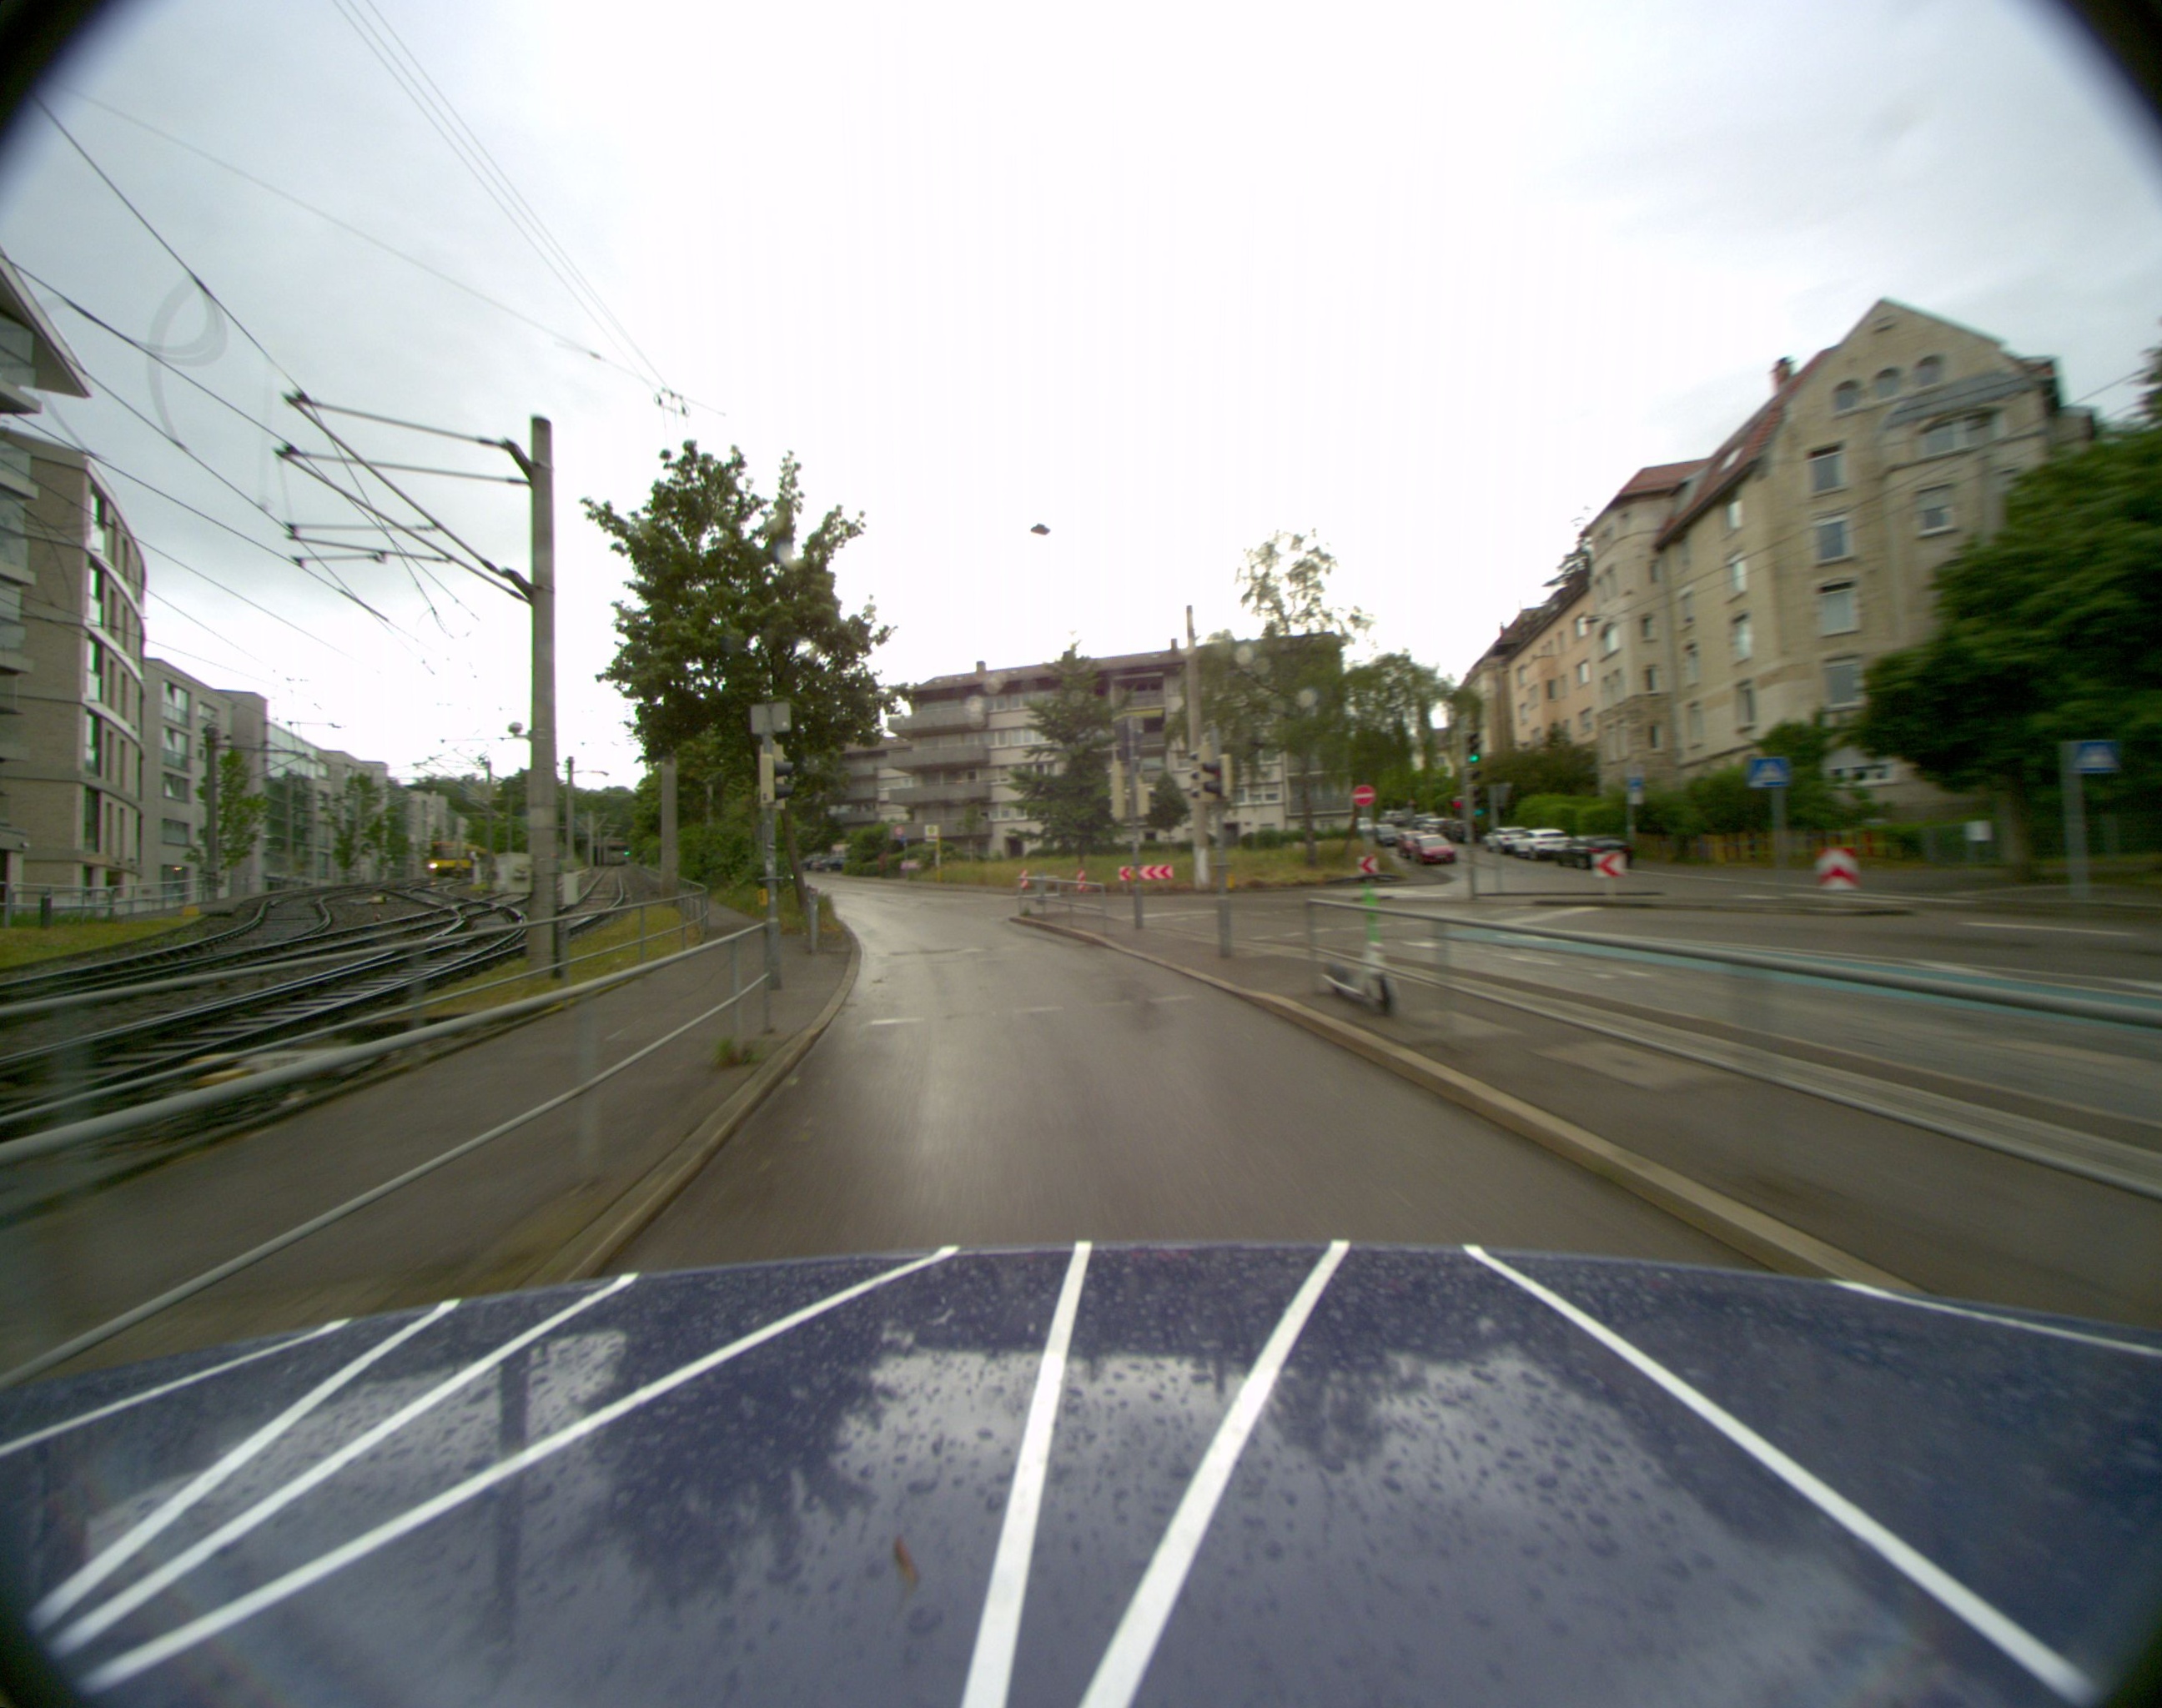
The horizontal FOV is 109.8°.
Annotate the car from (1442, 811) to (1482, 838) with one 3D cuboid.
[{"bbox_3d":[28.143,-2.136,56.277,1.678,1.824,3.669,-2,1,11],"label":"car"}]

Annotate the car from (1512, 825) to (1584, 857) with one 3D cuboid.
[{"bbox_3d":[24.768,-0.684,40.510,1.996,1.584,4.360,-1,1,13],"label":"car"}]

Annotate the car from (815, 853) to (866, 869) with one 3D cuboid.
[{"bbox_3d":[-24.164,0.677,76.319,4.507,1.481,1.843,-2,2,-30],"label":"car"}]

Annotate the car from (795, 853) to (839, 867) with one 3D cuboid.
[{"bbox_3d":[-29.458,0.625,84.813,4.450,1.519,1.770,0,1,-30],"label":"car"}]

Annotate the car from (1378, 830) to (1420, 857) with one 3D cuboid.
[{"bbox_3d":[22.293,-0.732,53.408,1.803,1.824,4.287,-2,1,11],"label":"car"}]

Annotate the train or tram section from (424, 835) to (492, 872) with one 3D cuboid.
[{"bbox_3d":[-64.985,-0.094,79.659,3.212,3.540,14.467,-1,0,-30],"label":"train or tram section"}]

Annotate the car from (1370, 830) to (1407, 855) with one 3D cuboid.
[{"bbox_3d":[23.524,-0.865,58.233,1.803,1.824,4.287,-2,1,11],"label":"car"}]

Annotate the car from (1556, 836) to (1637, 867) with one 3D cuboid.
[{"bbox_3d":[22.774,-0.141,33.770,1.750,1.216,4.360,-1,2,17],"label":"car"}]

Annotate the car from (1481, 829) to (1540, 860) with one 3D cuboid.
[{"bbox_3d":[25.930,-0.567,46.059,1.803,1.824,4.287,0,0,11],"label":"car"}]

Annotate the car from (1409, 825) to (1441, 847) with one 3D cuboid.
[{"bbox_3d":[30.070,-1.592,66.490,1.678,1.824,3.669,-2,1,11],"label":"car"}]

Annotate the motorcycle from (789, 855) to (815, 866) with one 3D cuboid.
[{"bbox_3d":[-32.951,0.747,89.710,2.813,1.265,1.277,-1,1,-16],"label":"motorcycle"}]

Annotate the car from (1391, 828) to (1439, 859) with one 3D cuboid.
[{"bbox_3d":[20.969,-0.657,47.873,1.803,1.824,4.287,-2,1,11],"label":"car"}]

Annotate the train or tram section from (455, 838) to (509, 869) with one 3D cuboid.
[{"bbox_3d":[-72.350,-0.096,92.166,3.121,3.478,14.820,-1,0,-30],"label":"train or tram section"}]

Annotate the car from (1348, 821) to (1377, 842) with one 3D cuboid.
[{"bbox_3d":[26.286,-2.081,71.078,1.803,1.824,4.287,-2,1,11],"label":"car"}]

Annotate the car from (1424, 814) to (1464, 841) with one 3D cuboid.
[{"bbox_3d":[28.667,-2.032,60.124,1.996,2.002,4.003,-1,1,13],"label":"car"}]

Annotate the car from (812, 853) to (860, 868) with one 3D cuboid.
[{"bbox_3d":[-25.266,0.681,78.423,4.451,1.519,1.770,0,1,-33],"label":"car"}]

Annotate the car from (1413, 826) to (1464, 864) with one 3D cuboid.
[{"bbox_3d":[20.032,-0.514,42.756,1.996,2.002,4.005,-1,0,16],"label":"car"}]

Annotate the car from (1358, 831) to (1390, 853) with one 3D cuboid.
[{"bbox_3d":[25.046,-1.015,65.040,1.803,1.824,4.287,-2,1,11],"label":"car"}]

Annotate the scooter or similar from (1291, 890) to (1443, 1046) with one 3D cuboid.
[{"bbox_3d":[2.438,0.916,6.672,0.435,1.107,1.603,-3,1,-11],"label":"scooter or similar"}]
